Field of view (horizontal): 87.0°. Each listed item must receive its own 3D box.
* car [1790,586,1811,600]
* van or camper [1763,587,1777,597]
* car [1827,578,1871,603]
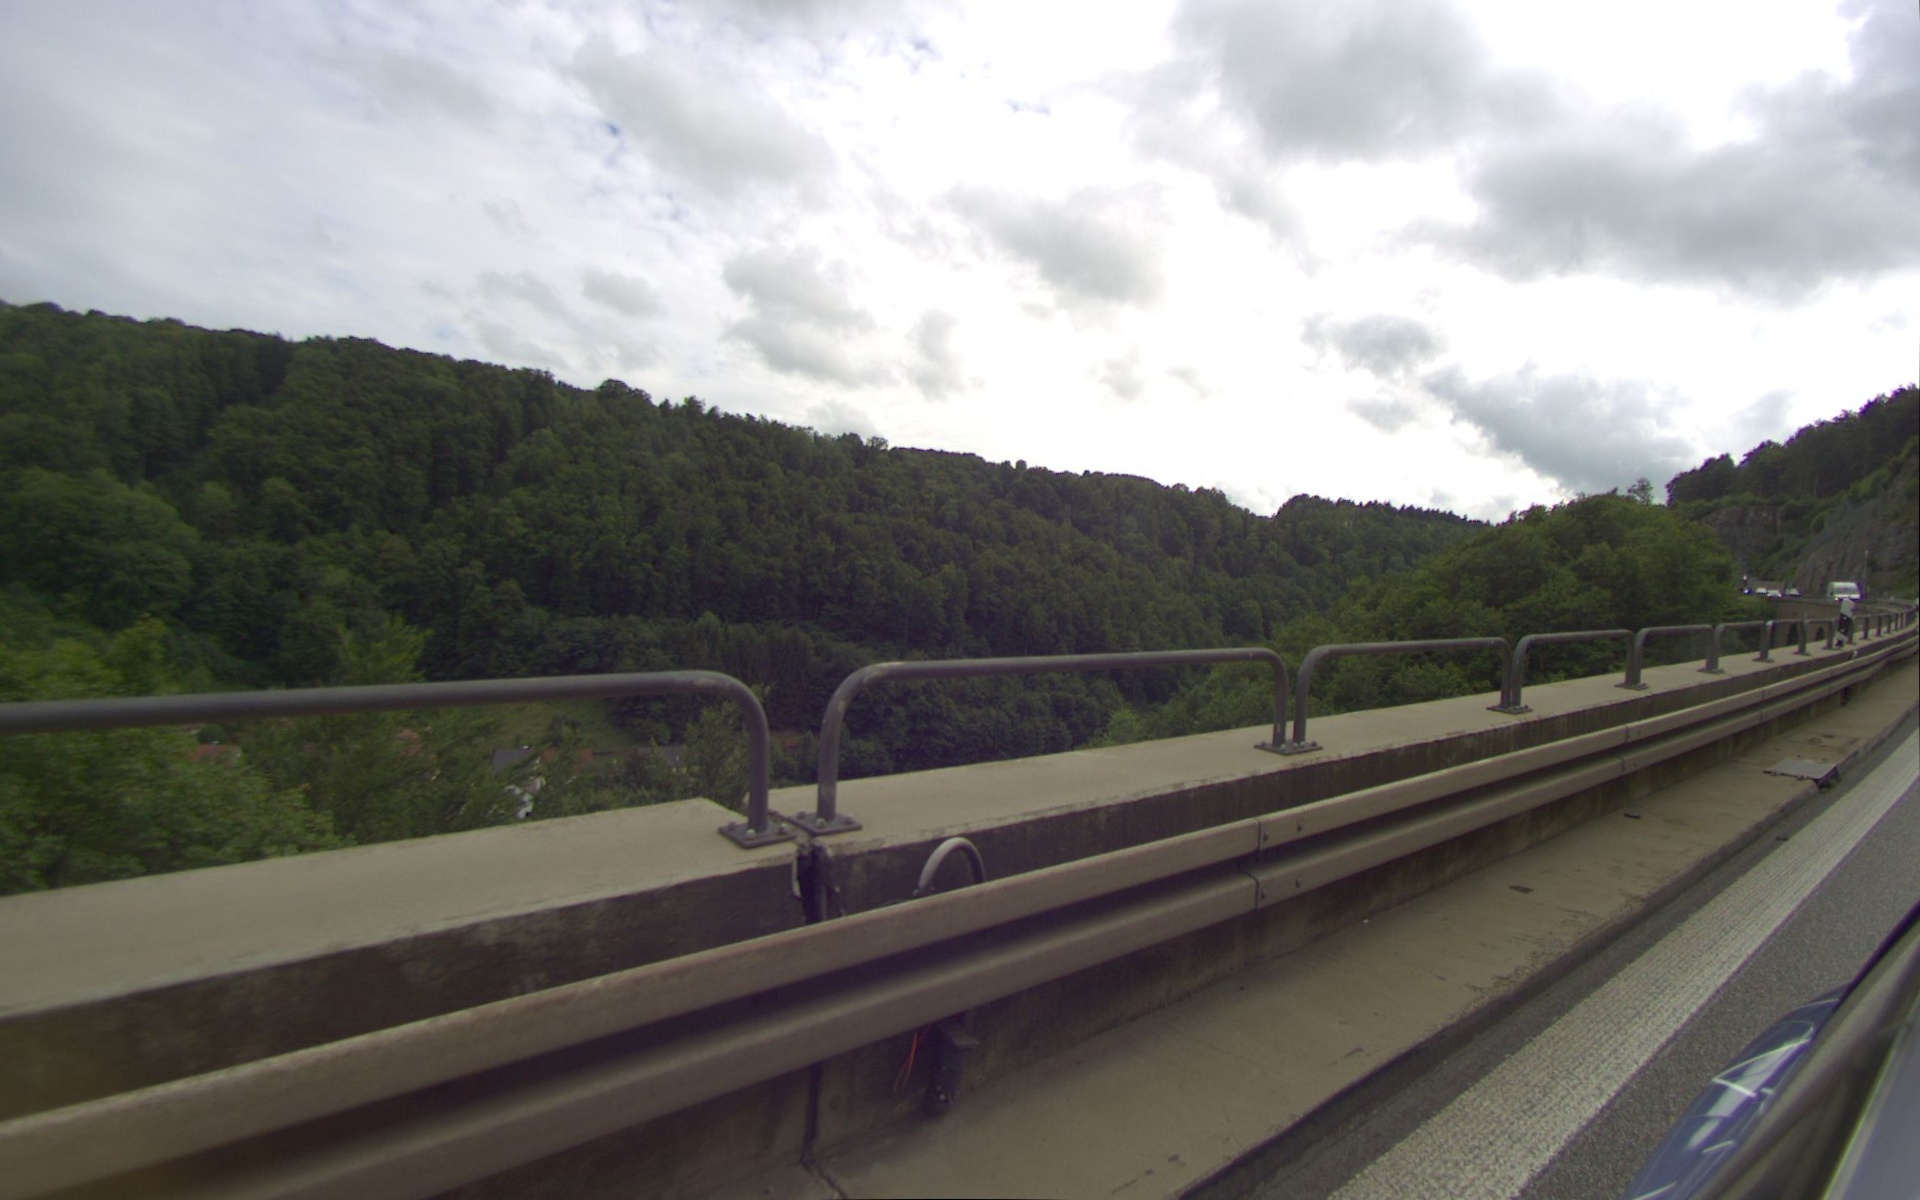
[{"bbox_3d":[134.028,-1.119,161.353,1.985,2.039,3.955,1,1,32],"label":"car"},{"bbox_3d":[159.436,-1.544,199.204,1.988,2.039,3.947,1,1,37],"label":"van or camper"},{"bbox_3d":[87.609,-0.948,99.834,2.660,2.453,6.042,1,1,36],"label":"car"}]
